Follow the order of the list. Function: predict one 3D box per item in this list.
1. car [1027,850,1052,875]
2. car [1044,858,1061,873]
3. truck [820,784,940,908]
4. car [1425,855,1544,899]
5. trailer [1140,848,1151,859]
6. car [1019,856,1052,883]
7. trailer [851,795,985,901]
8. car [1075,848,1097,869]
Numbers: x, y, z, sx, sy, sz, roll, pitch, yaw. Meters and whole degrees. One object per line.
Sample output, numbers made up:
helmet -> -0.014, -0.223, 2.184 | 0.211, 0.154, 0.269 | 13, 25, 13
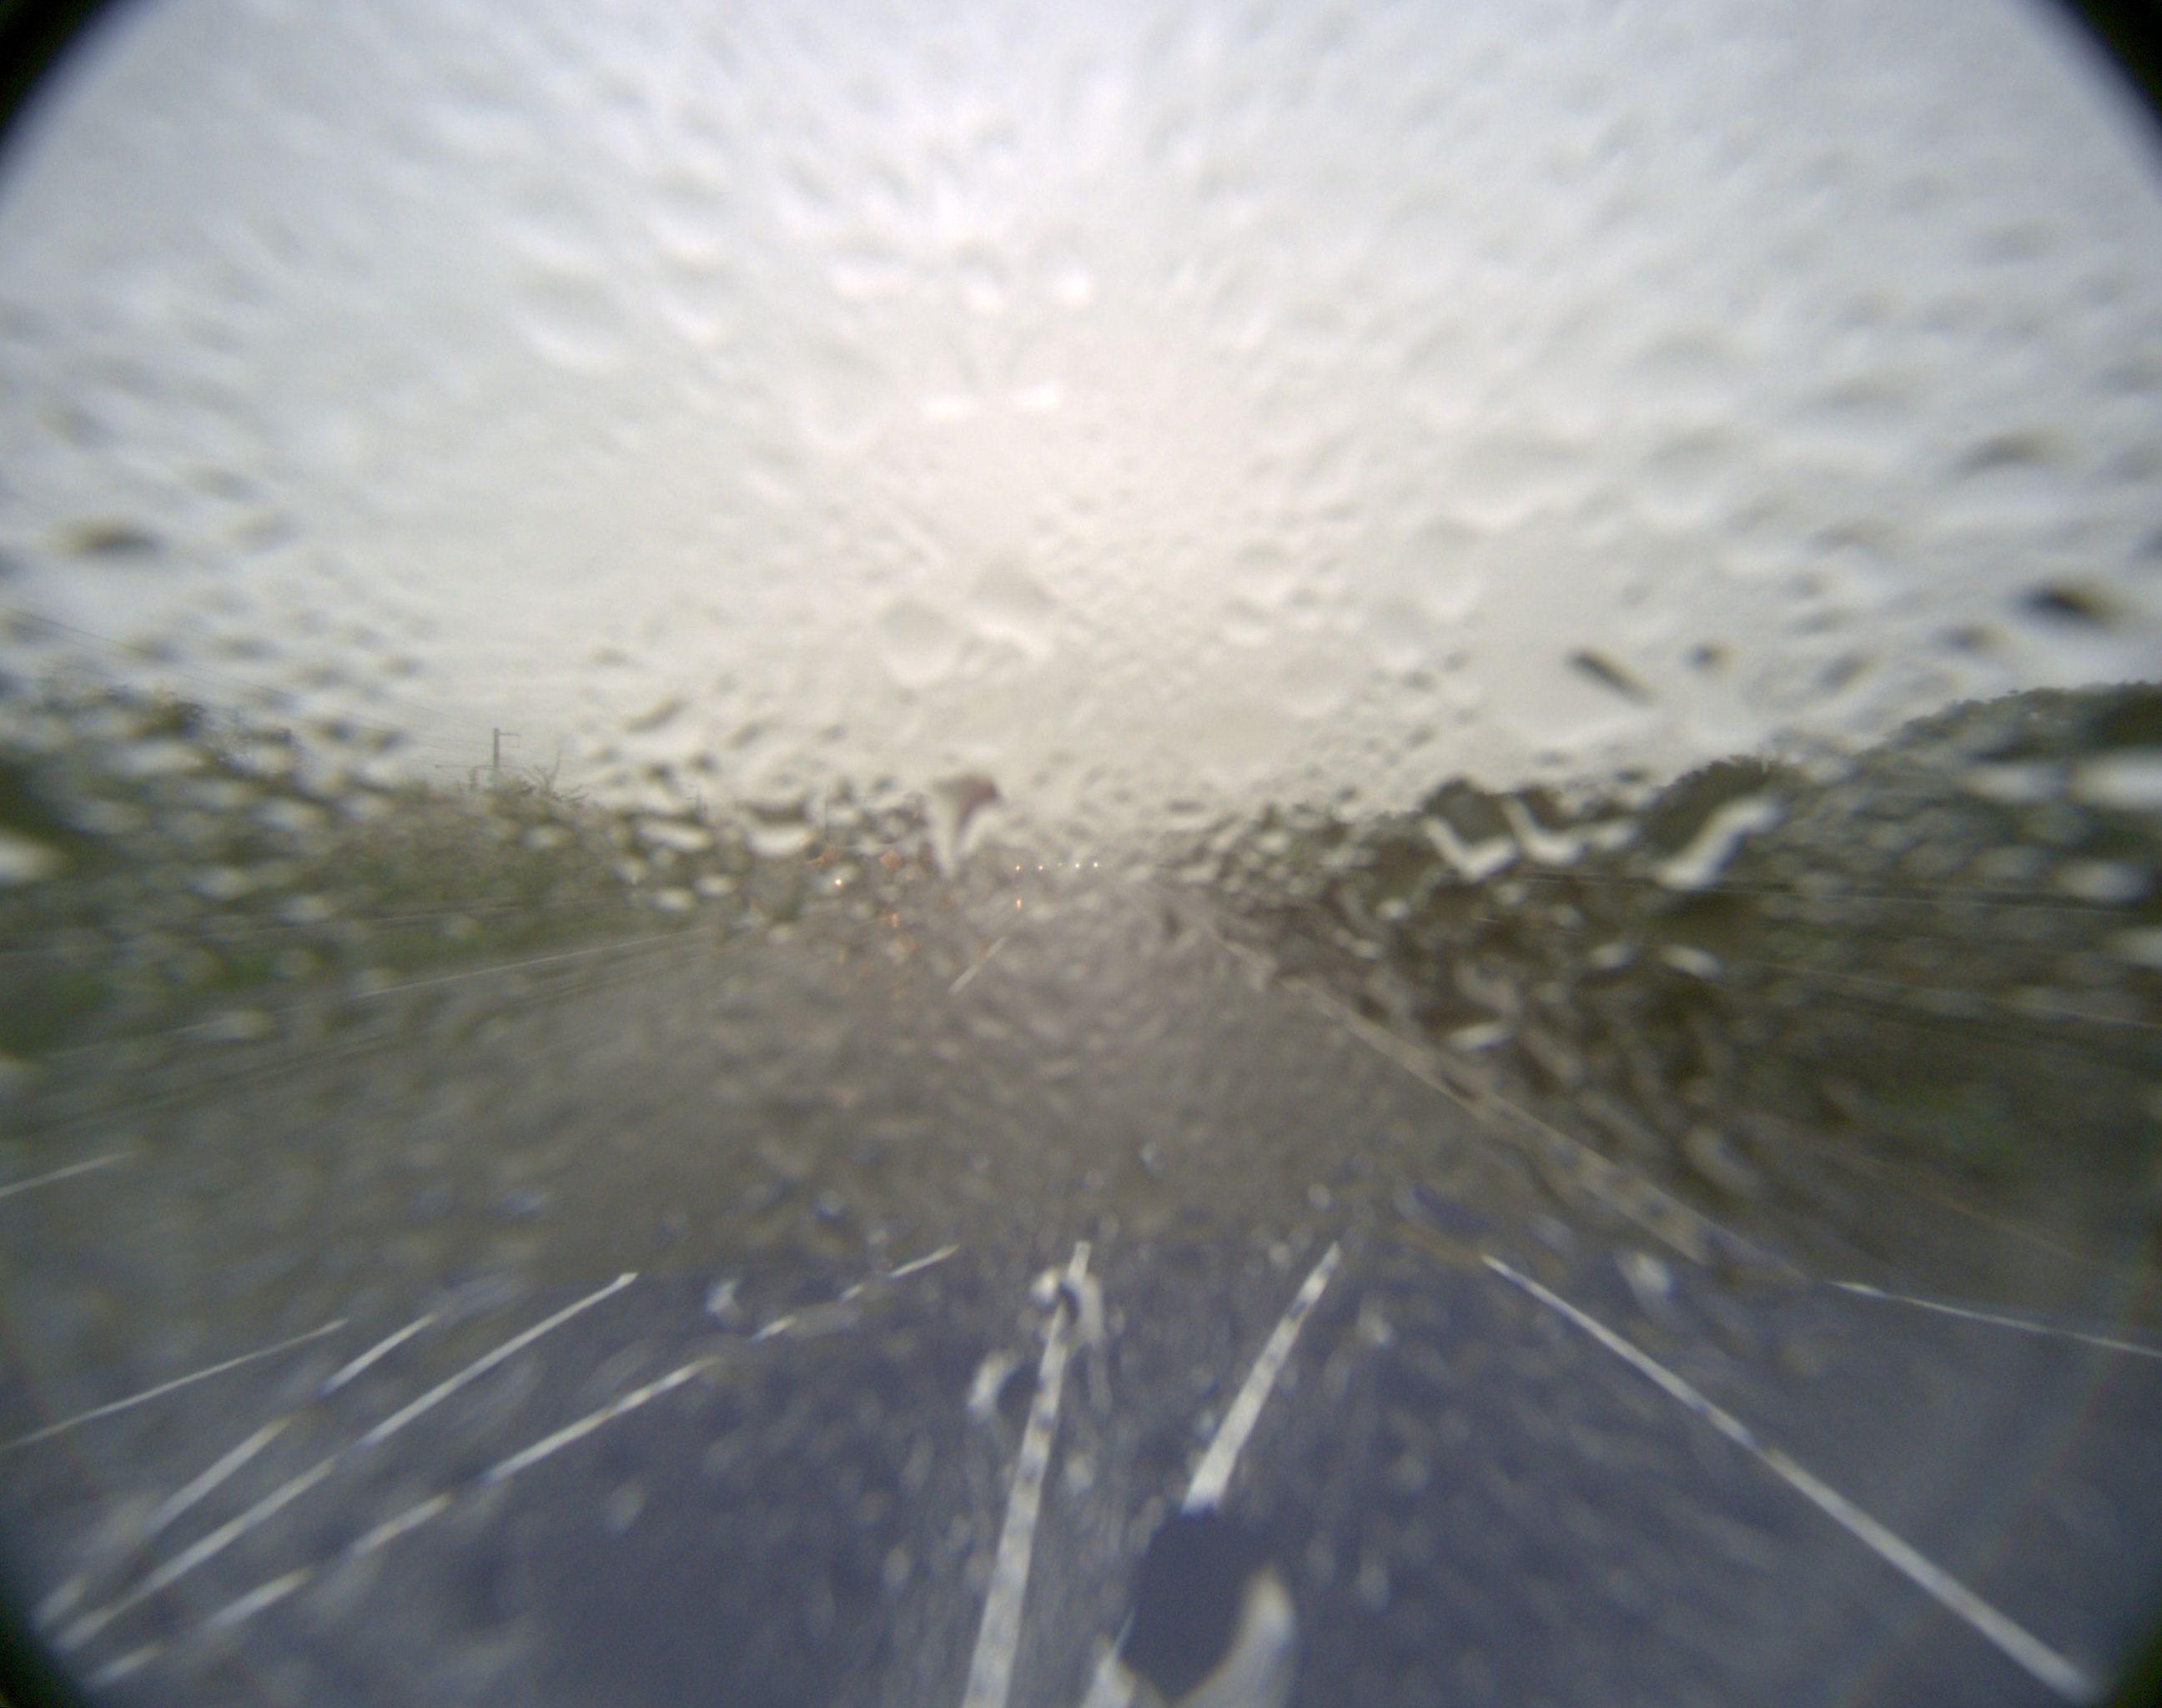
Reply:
car -> -2.867, 0.579, 52.787 | 1.517, 1.606, 3.186 | -2, 0, 0
car -> -3.386, 1.322, 91.513 | 1.845, 1.671, 4.000 | -2, 0, 0
truck -> -7.002, -0.266, 27.361 | 2.457, 3.866, 6.199 | -2, 0, 1
car -> 15.284, 0.811, 29.140 | 1.932, 1.503, 4.935 | -2, 0, 0
trailer -> 22.695, -0.252, 267.583 | 2.640, 3.782, 13.584 | -2, 0, 1
car -> -2.791, 0.937, 47.177 | 1.663, 1.491, 3.836 | -2, 0, 1
trailer -> -6.928, -0.211, 35.785 | 2.486, 3.743, 16.544 | -2, 0, 0
car -> 0.429, 0.401, 65.998 | 1.845, 1.671, 4.000 | -2, 0, 0
